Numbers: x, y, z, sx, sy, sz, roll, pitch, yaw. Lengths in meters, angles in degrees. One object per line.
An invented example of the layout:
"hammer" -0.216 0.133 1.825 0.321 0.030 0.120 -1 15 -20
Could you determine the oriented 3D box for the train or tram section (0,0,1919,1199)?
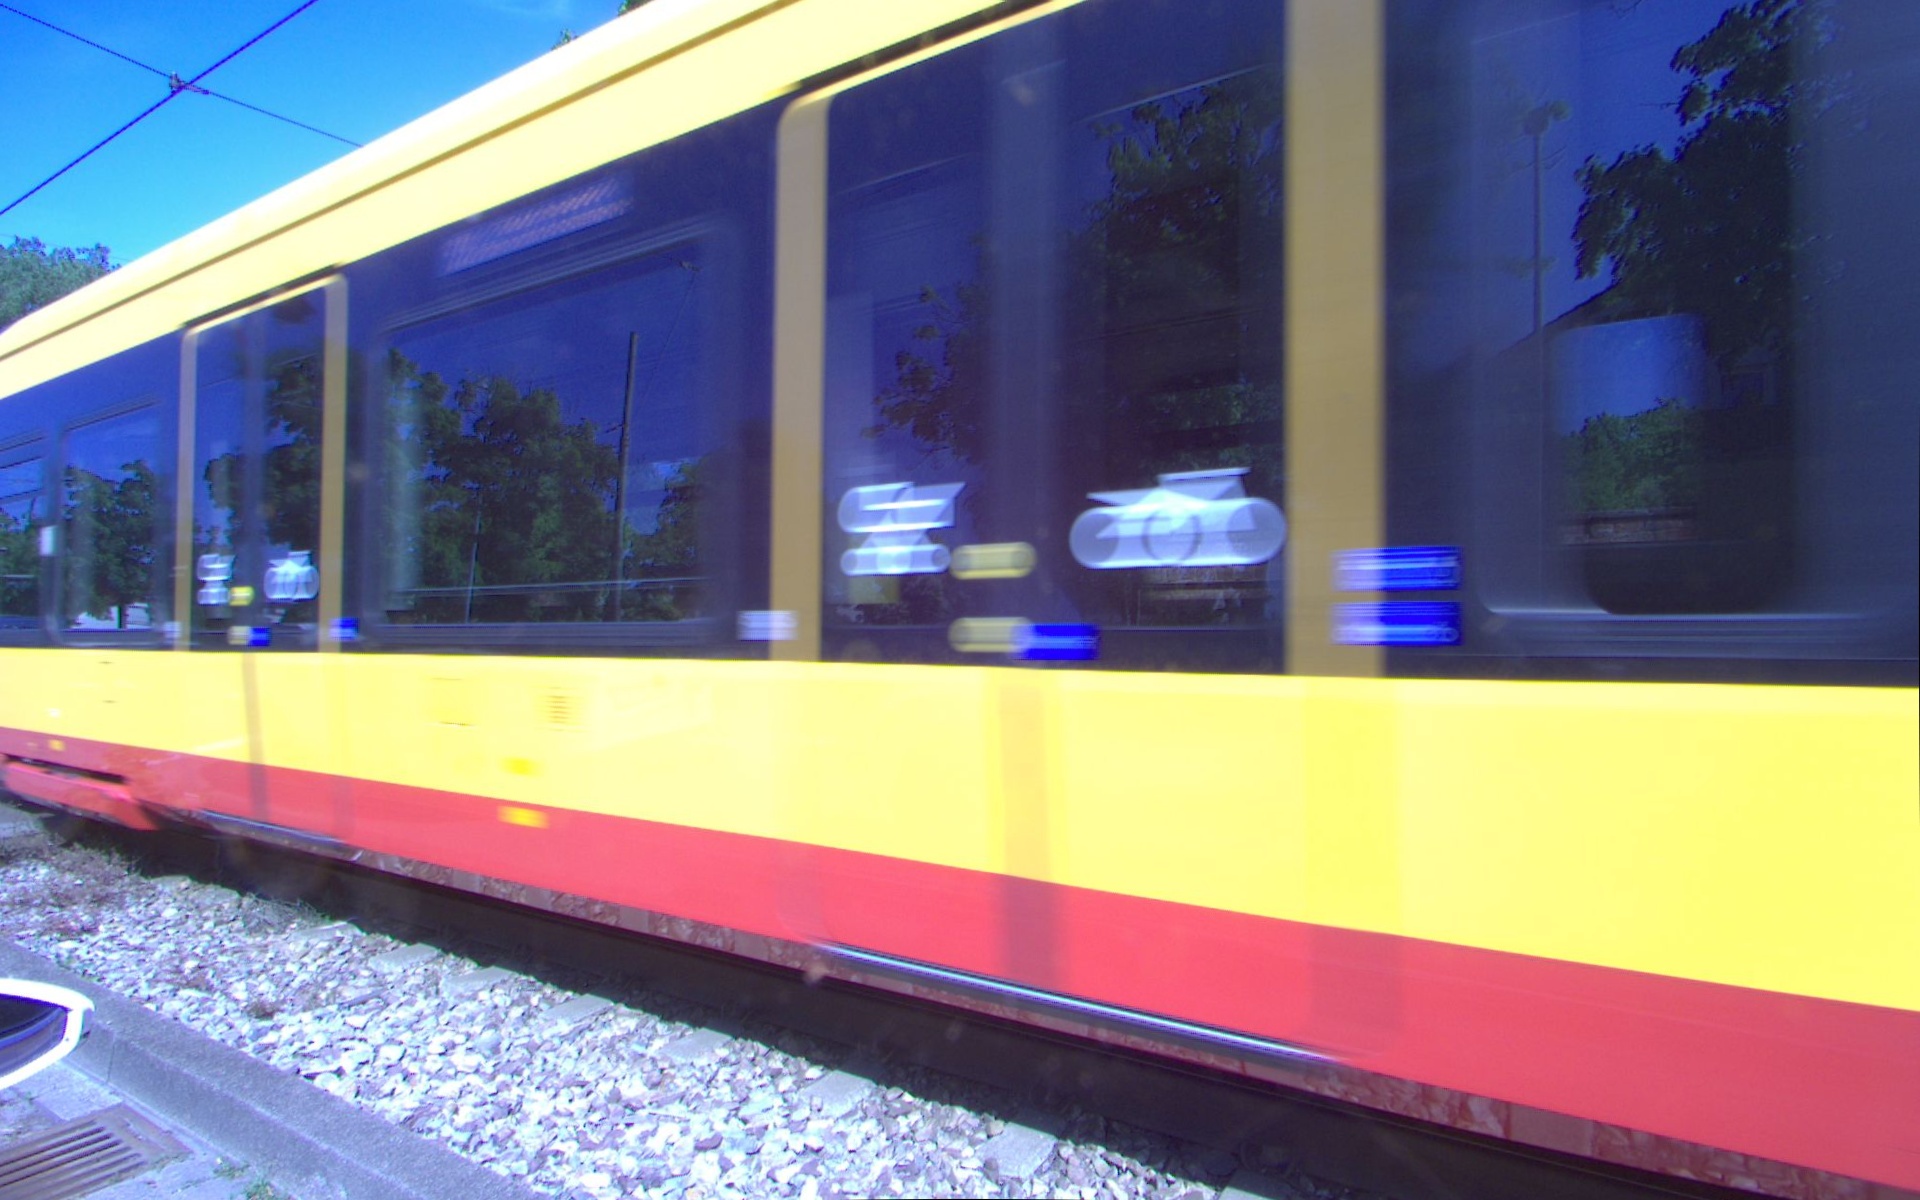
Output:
"train or tram section" -1.700 -0.188 5.058 15.089 3.698 2.665 -1 -2 33
